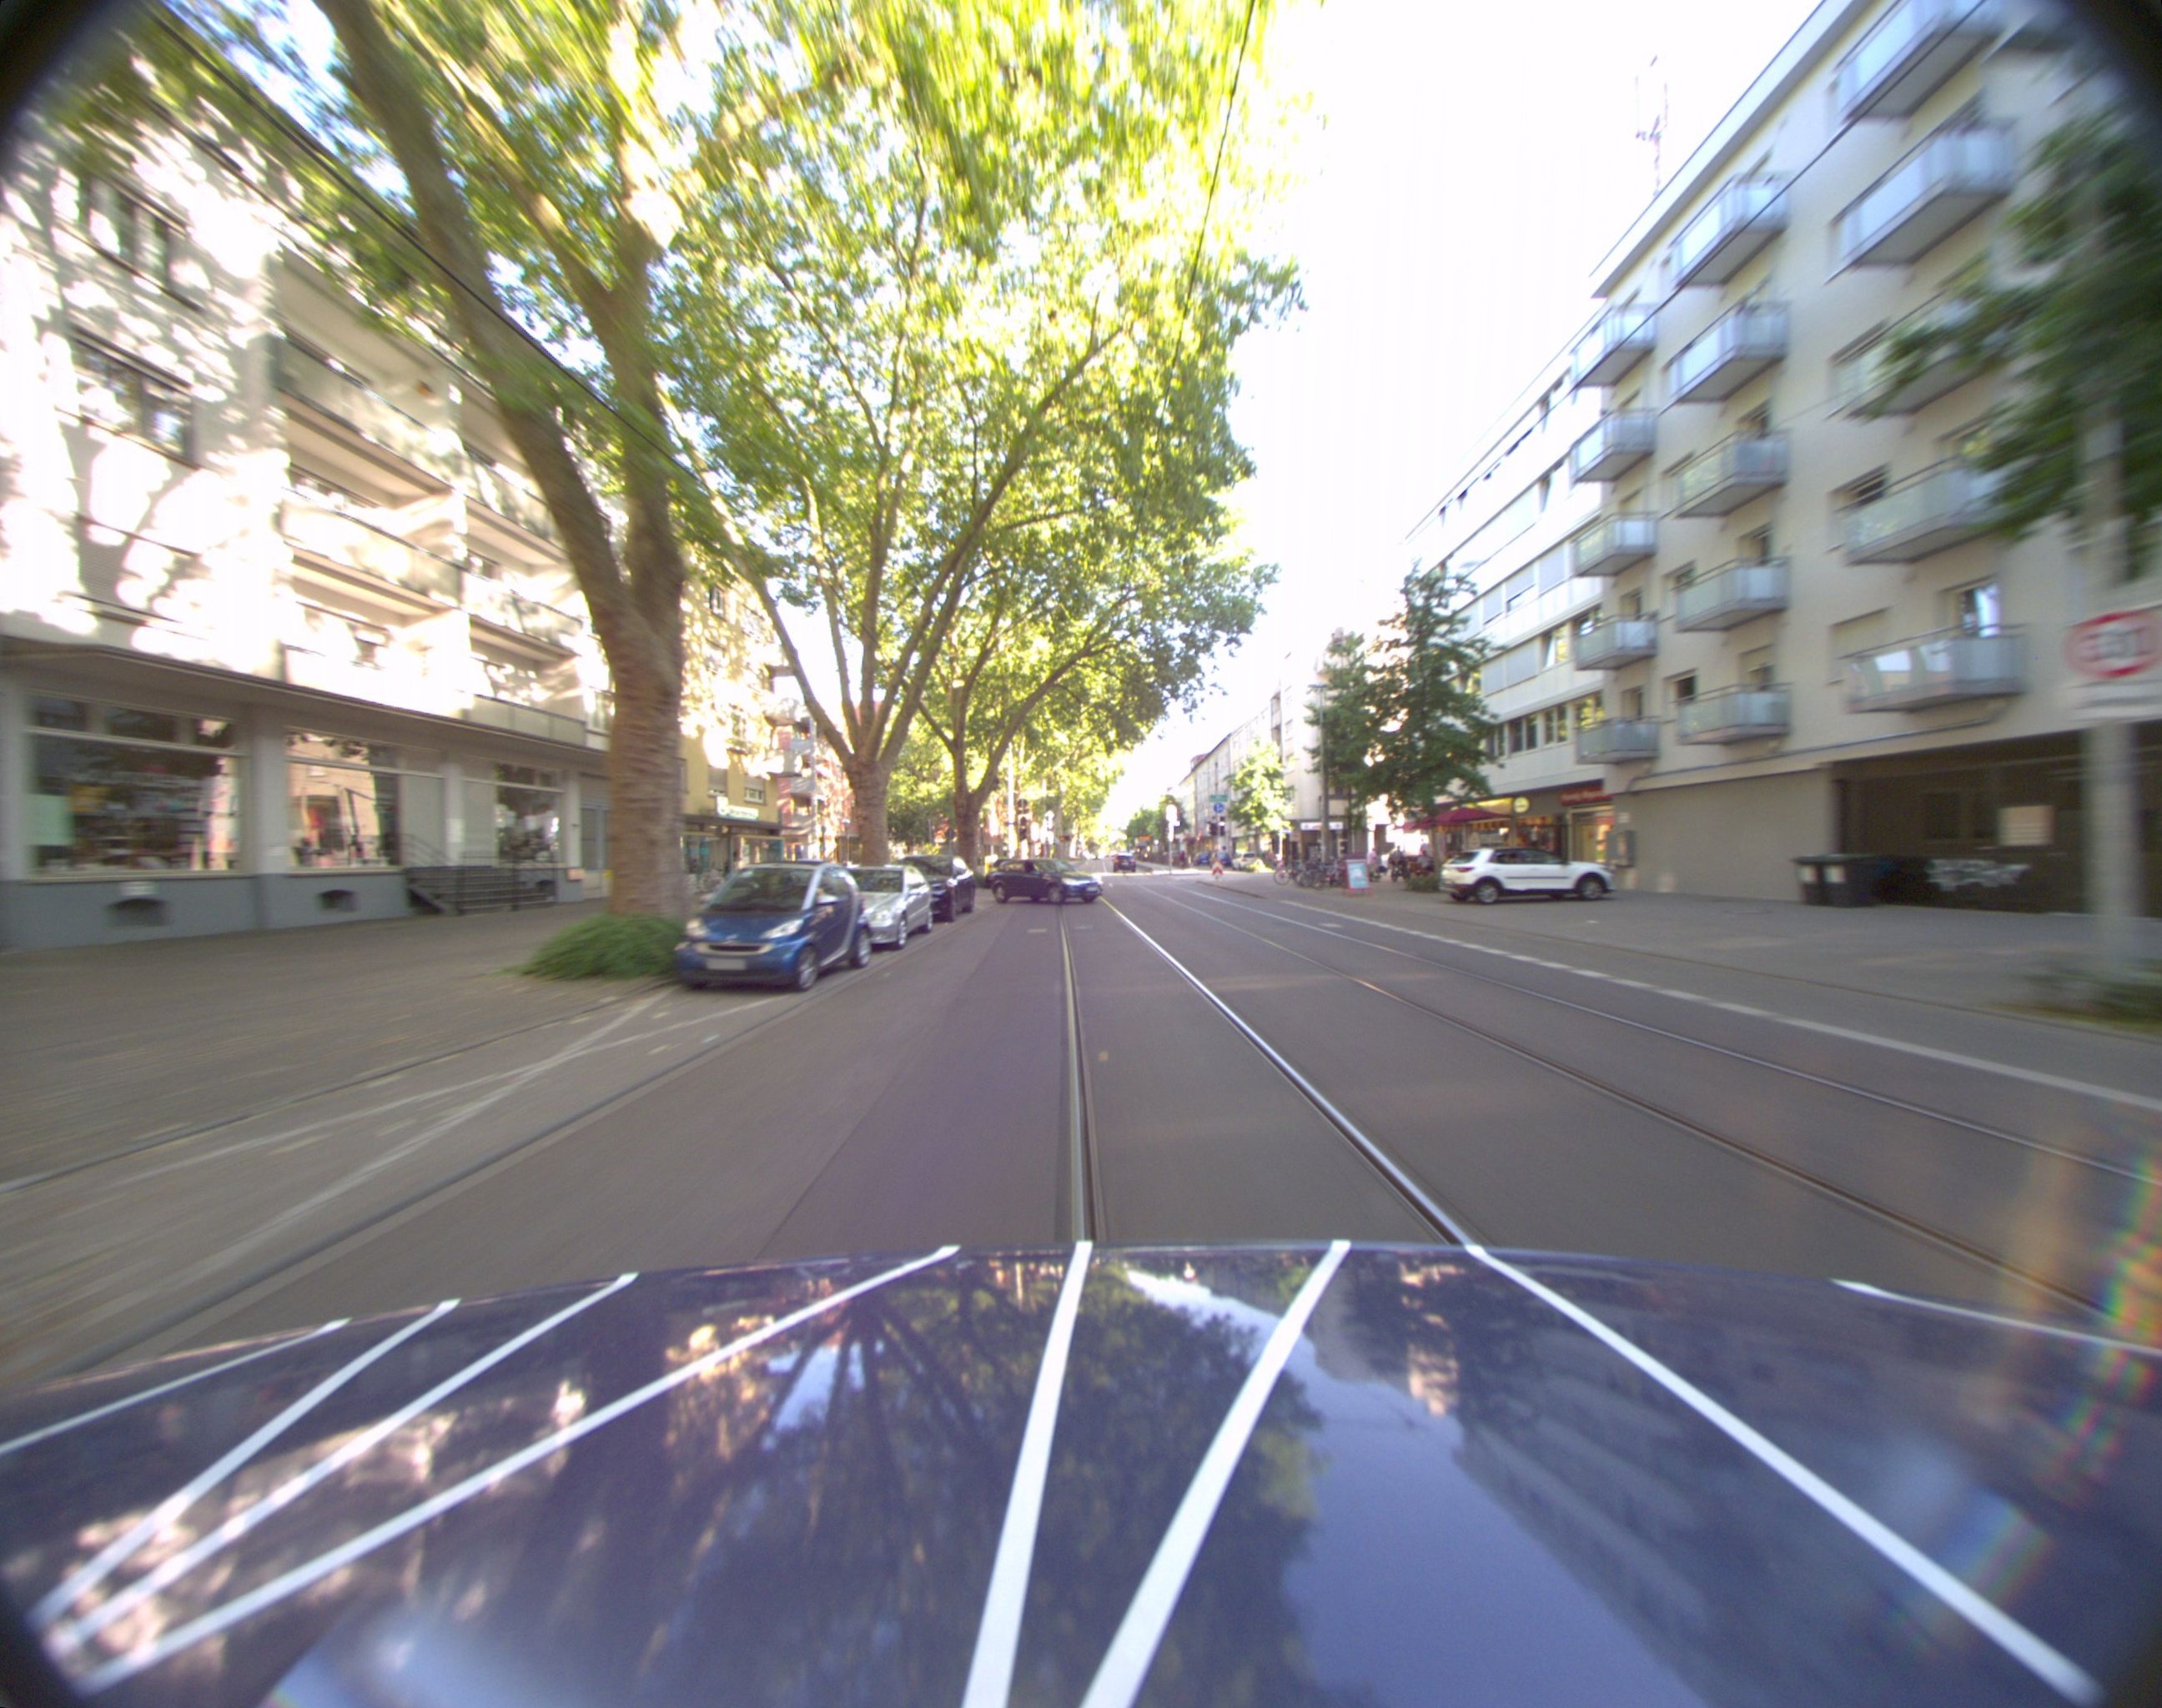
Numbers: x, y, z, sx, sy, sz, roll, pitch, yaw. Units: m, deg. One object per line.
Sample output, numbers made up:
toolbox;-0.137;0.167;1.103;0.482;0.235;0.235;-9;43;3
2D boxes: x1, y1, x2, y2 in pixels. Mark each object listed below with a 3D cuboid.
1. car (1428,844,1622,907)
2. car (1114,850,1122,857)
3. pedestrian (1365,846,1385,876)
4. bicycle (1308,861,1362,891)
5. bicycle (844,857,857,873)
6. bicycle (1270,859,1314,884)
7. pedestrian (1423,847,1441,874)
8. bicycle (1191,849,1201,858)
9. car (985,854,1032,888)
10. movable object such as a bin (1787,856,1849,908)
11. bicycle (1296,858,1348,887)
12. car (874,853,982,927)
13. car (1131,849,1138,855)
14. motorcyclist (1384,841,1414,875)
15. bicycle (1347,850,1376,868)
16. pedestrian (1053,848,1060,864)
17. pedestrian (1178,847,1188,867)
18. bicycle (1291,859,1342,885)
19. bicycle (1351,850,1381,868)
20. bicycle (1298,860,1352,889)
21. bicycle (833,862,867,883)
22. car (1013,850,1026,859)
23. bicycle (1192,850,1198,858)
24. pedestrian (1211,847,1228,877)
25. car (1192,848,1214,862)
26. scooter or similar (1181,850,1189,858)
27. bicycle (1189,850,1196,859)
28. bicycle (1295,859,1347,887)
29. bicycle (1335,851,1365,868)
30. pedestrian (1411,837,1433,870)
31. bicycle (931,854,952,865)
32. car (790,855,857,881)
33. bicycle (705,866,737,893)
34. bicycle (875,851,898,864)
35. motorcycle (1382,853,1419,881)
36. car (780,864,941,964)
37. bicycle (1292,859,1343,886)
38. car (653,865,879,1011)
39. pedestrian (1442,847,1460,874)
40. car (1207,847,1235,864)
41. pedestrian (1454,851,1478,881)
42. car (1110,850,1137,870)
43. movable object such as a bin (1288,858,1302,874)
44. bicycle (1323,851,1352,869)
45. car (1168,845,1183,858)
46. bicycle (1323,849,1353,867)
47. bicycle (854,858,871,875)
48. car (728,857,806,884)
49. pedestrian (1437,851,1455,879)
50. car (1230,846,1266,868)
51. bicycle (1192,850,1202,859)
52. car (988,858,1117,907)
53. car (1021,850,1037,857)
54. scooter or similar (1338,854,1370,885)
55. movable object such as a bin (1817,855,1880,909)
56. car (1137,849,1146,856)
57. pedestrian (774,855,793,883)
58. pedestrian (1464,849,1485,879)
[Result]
car;11.686;0.544;20.222;4.021;1.467;1.852;-2;1;4
car;9.426;-0.101;194.998;1.766;1.579;4.000;-1;0;0
pedestrian;15.726;0.373;40.673;0.727;1.547;0.768;-1;1;-4
bicycle;9.240;0.784;27.666;1.696;1.001;0.657;-2;1;-3
bicycle;-17.258;0.836;56.917;0.601;1.150;1.697;1;1;-3
bicycle;9.070;0.742;32.721;1.696;1.001;0.657;-2;1;-3
pedestrian;16.047;0.288;34.711;0.513;1.191;0.563;-1;1;-15
bicycle;15.344;-0.112;101.682;0.561;1.150;2.028;-1;0;-14
car;-3.452;0.758;36.783;1.769;1.454;5.011;-1;0;0
movable object such as a bin;15.233;0.563;15.713;0.679;1.049;0.622;-1;1;3
bicycle;9.447;0.729;29.826;1.834;1.058;0.657;-2;1;-3
car;-3.828;0.826;19.865;1.862;1.594;4.781;0;1;0
car;15.327;-0.557;217.292;1.998;1.521;3.679;-1;0;4
motorcyclist;13.902;0.173;33.210;0.875;1.432;1.016;-1;1;1
bicycle;19.201;0.328;51.977;1.789;1.150;0.572;-1;1;-5
pedestrian;-2.573;0.195;80.163;0.768;1.650;0.917;-1;1;-2
pedestrian;7.971;0.223;59.284;0.655;1.576;0.772;-1;1;2
bicycle;9.669;0.736;31.228;1.834;1.001;0.657;-2;1;-3
bicycle;19.185;0.349;51.165;1.786;1.150;0.572;-1;1;12
bicycle;9.317;0.781;29.003;1.834;1.001;0.657;-2;1;-3
bicycle;-13.251;1.039;43.571;1.799;1.150;0.744;0;1;-20
car;-10.551;0.140;130.689;1.657;1.499;3.961;-1;0;2
bicycle;15.651;-0.026;104.201;0.494;1.150;1.751;-1;0;-4
pedestrian;7.739;0.460;42.543;0.759;1.661;0.768;-1;1;-4
car;13.490;0.090;84.094;1.799;1.455;4.282;0;0;2
scooter or similar;15.011;-0.029;109.397;0.447;1.167;1.272;-1;1;-35
bicycle;15.560;0.053;106.135;0.572;1.150;2.037;-1;0;-4
bicycle;9.518;0.741;30.145;1.834;1.001;0.657;-2;1;-3
bicycle;18.025;0.378;50.917;1.785;1.150;0.573;-1;1;32
pedestrian;17.646;-0.026;39.283;0.768;1.650;0.749;-1;1;-5
bicycle;-14.810;0.614;80.732;2.035;1.150;0.572;1;1;7
car;-17.410;0.930;51.438;3.871;1.683;1.866;-1;1;1
bicycle;-14.683;1.030;31.018;0.572;0.991;1.780;1;1;-3
bicycle;-17.179;0.289;67.167;1.930;1.150;0.573;1;1;17
motorcycle;13.918;0.549;33.162;0.851;1.157;1.915;-1;0;1
car;-3.900;0.984;14.295;1.821;1.427;4.601;0;1;-2
bicycle;9.566;0.746;30.790;1.834;1.001;0.657;-2;1;-3
car;-3.883;0.950;9.872;1.567;1.510;2.910;0;1;4
pedestrian;16.746;0.278;34.344;0.565;1.191;0.512;-1;1;-33
car;13.401;0.123;72.864;1.961;1.535;4.389;0;0;2
pedestrian;16.042;0.493;31.644;0.603;1.191;0.690;-1;1;-33
car;3.403;0.472;61.813;1.876;1.580;4.146;-1;-1;-2
movable object such as a bin;12.269;0.677;43.561;0.540;0.927;0.649;-1;1;-15
bicycle;17.186;0.399;50.932;1.785;1.150;0.573;-1;1;32
car;14.565;-0.442;117.724;1.808;1.923;4.049;-1;0;0
bicycle;17.514;0.270;51.869;1.862;1.150;0.572;-1;1;6
bicycle;-16.174;0.912;56.264;0.601;1.150;1.698;1;1;4
car;-18.776;1.001;45.584;3.871;1.542;1.867;-1;-2;1
pedestrian;15.875;0.486;33.030;0.512;1.191;0.564;-1;1;3
car;13.272;0.220;60.759;1.882;1.641;4.358;-3;0;0
bicycle;15.600;0.030;102.049;0.561;1.150;2.028;-1;0;-14
car;-0.998;0.853;24.629;1.874;1.429;4.214;-1;1;-43
car;-12.668;-0.073;184.389;3.674;1.521;2.000;-1;1;2
scooter or similar;11.063;0.625;30.765;1.082;1.169;0.498;-2;1;0
movable object such as a bin;15.212;0.548;15.074;0.674;1.049;0.574;-1;1;3
car;14.578;-0.380;182.466;1.998;1.521;3.679;-1;0;4
pedestrian;-16.261;0.825;41.524;0.701;1.530;0.692;0;1;42
pedestrian;15.933;0.391;30.779;0.514;1.191;0.562;-1;1;-27
